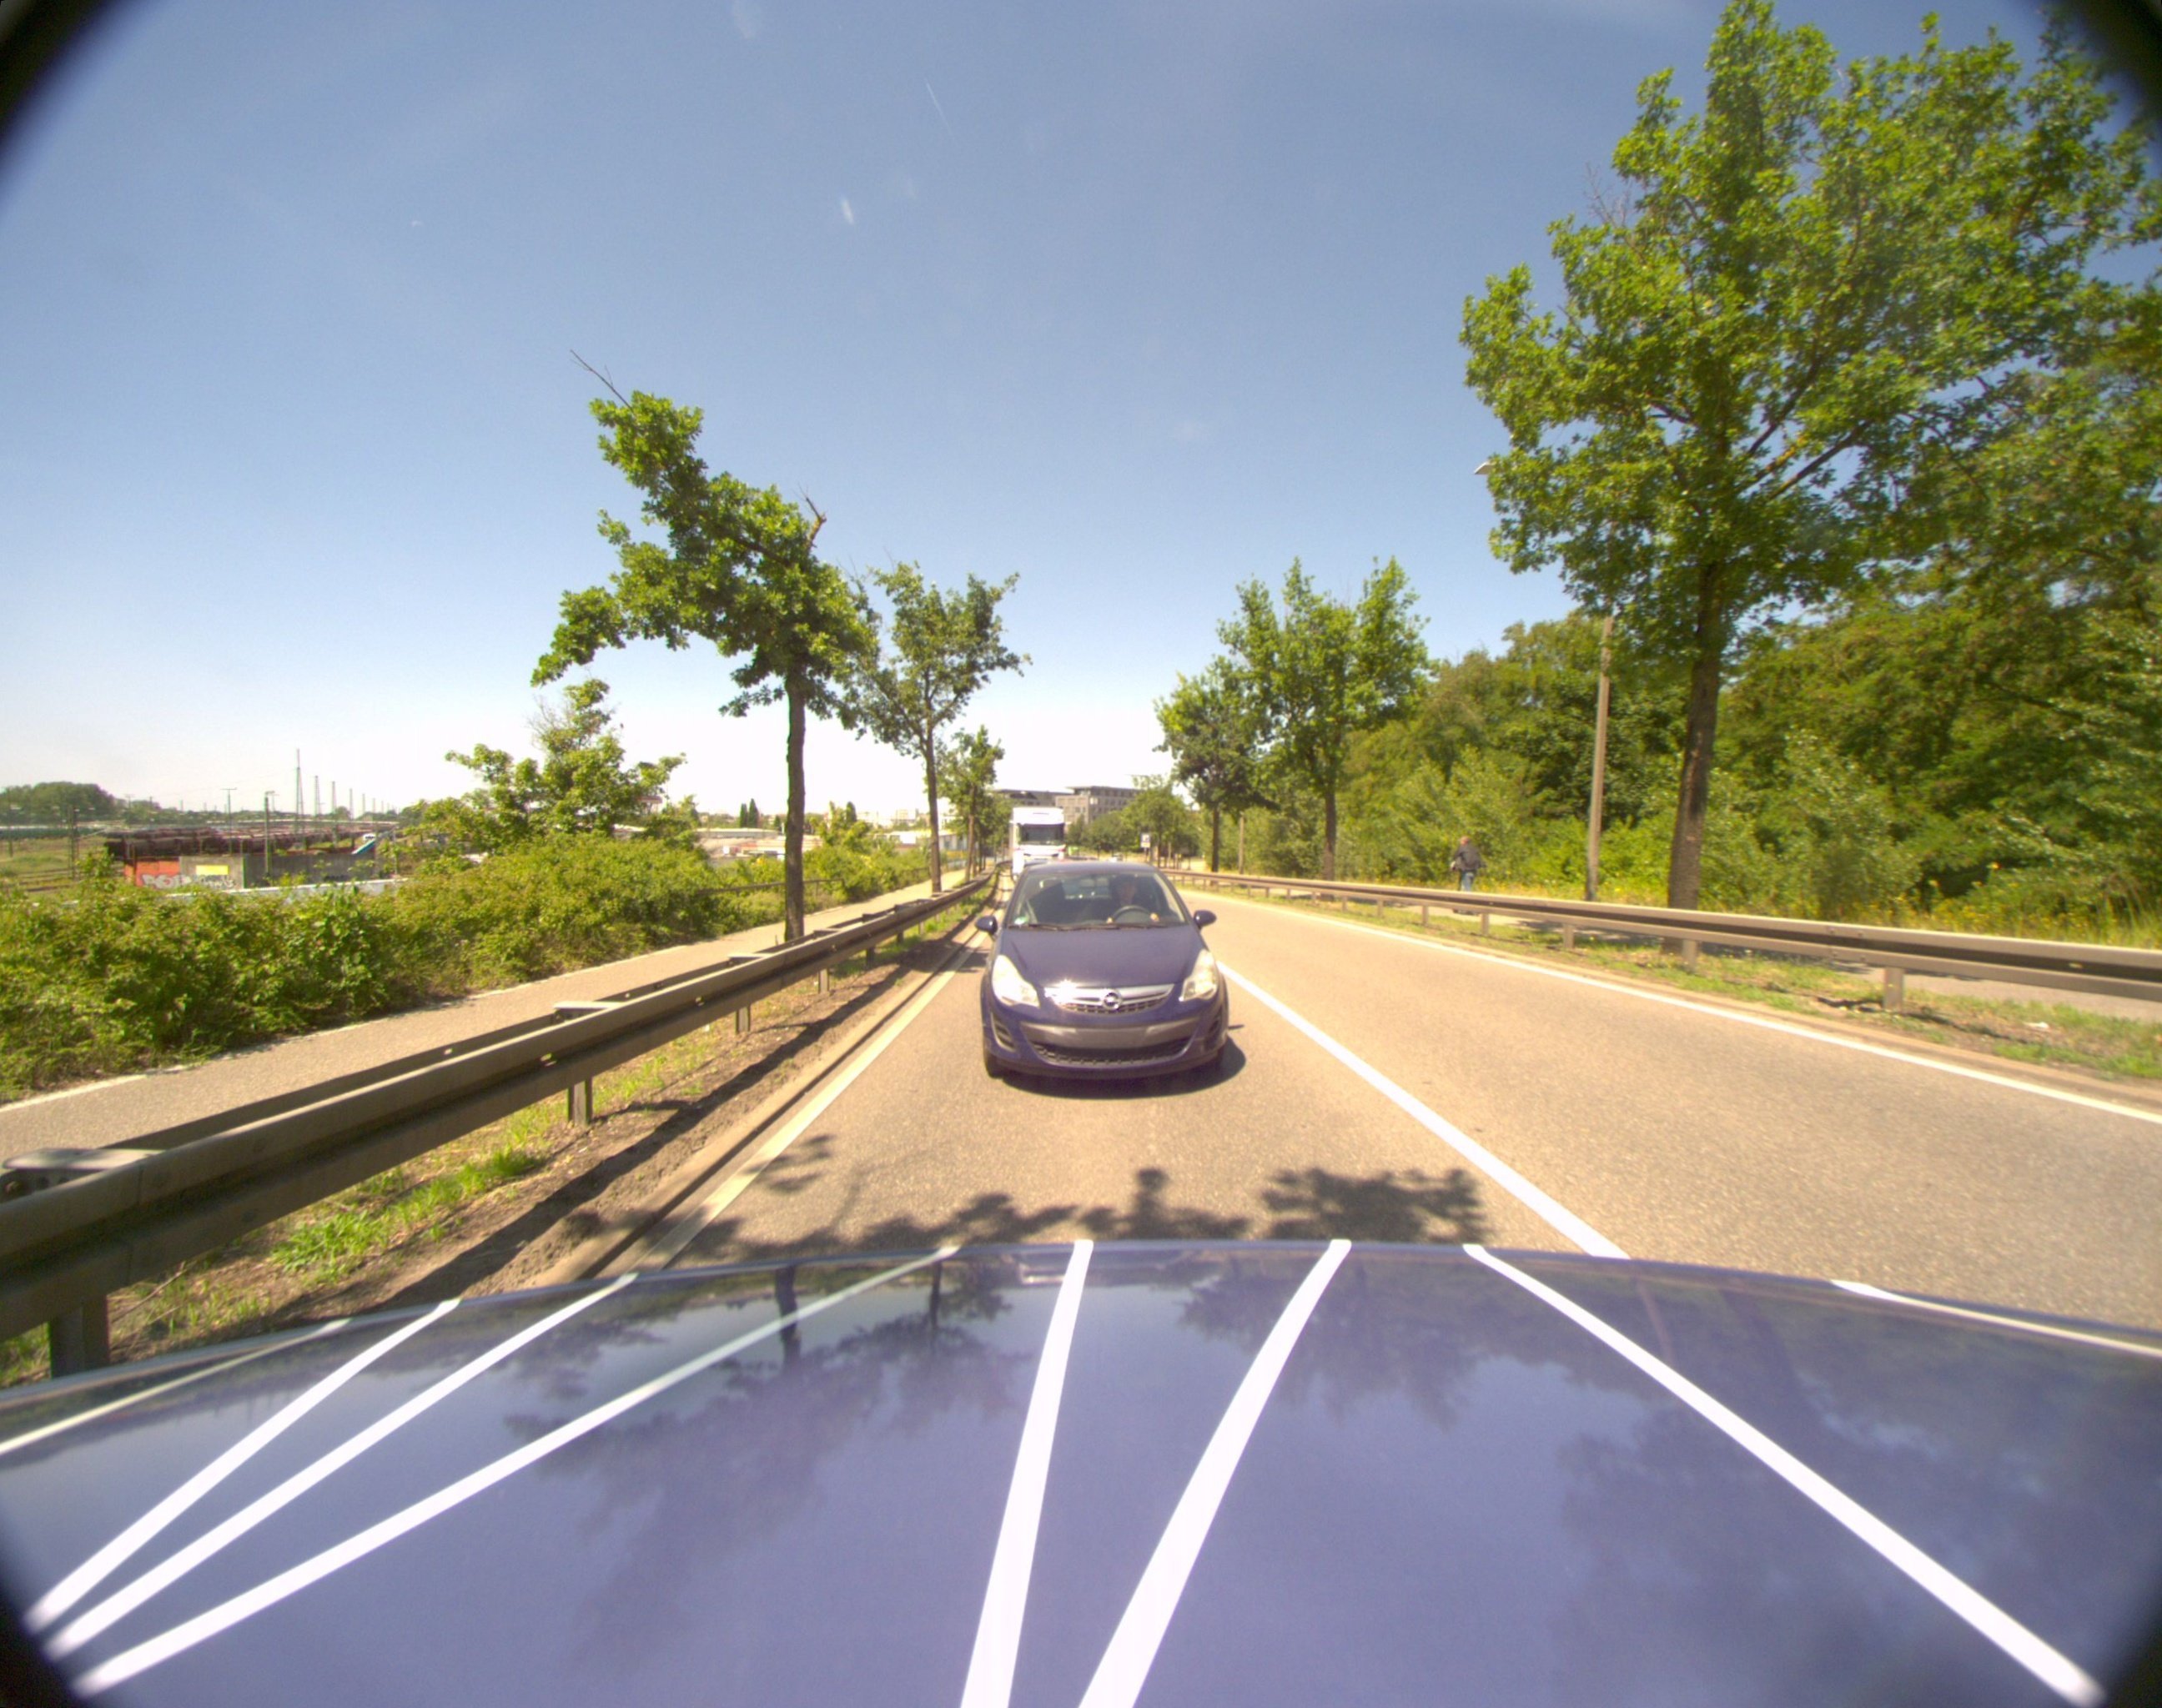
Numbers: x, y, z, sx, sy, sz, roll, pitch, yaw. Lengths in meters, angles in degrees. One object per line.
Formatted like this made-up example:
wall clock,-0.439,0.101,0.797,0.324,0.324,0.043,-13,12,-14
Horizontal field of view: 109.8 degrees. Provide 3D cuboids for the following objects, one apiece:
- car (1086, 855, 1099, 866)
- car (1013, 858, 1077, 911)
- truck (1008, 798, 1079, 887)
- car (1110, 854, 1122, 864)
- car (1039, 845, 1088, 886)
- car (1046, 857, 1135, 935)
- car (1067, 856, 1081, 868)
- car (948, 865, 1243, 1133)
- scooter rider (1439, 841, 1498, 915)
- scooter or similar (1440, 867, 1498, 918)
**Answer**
car,2.206,1.184,143.044,1.778,2.002,4.003,-2,1,12
car,-1.074,0.882,23.655,1.780,1.398,3.999,-2,1,-2
truck,-2.585,-0.610,44.760,3.072,4.146,16.900,-2,1,-6
car,7.337,1.062,159.962,1.778,2.002,4.003,-2,1,12
car,-0.789,0.425,31.835,1.781,1.569,3.998,-2,1,-5
car,0.168,0.862,17.599,1.780,1.498,3.895,-2,1,-1
car,-1.165,1.332,127.079,1.779,2.002,4.001,-2,1,7
car,0.044,0.892,6.456,1.720,1.455,3.836,-2,1,-2
scooter rider,8.918,0.528,17.526,0.779,1.648,1.121,-2,1,3
scooter or similar,8.940,0.863,17.545,0.779,1.085,1.095,-2,1,2
